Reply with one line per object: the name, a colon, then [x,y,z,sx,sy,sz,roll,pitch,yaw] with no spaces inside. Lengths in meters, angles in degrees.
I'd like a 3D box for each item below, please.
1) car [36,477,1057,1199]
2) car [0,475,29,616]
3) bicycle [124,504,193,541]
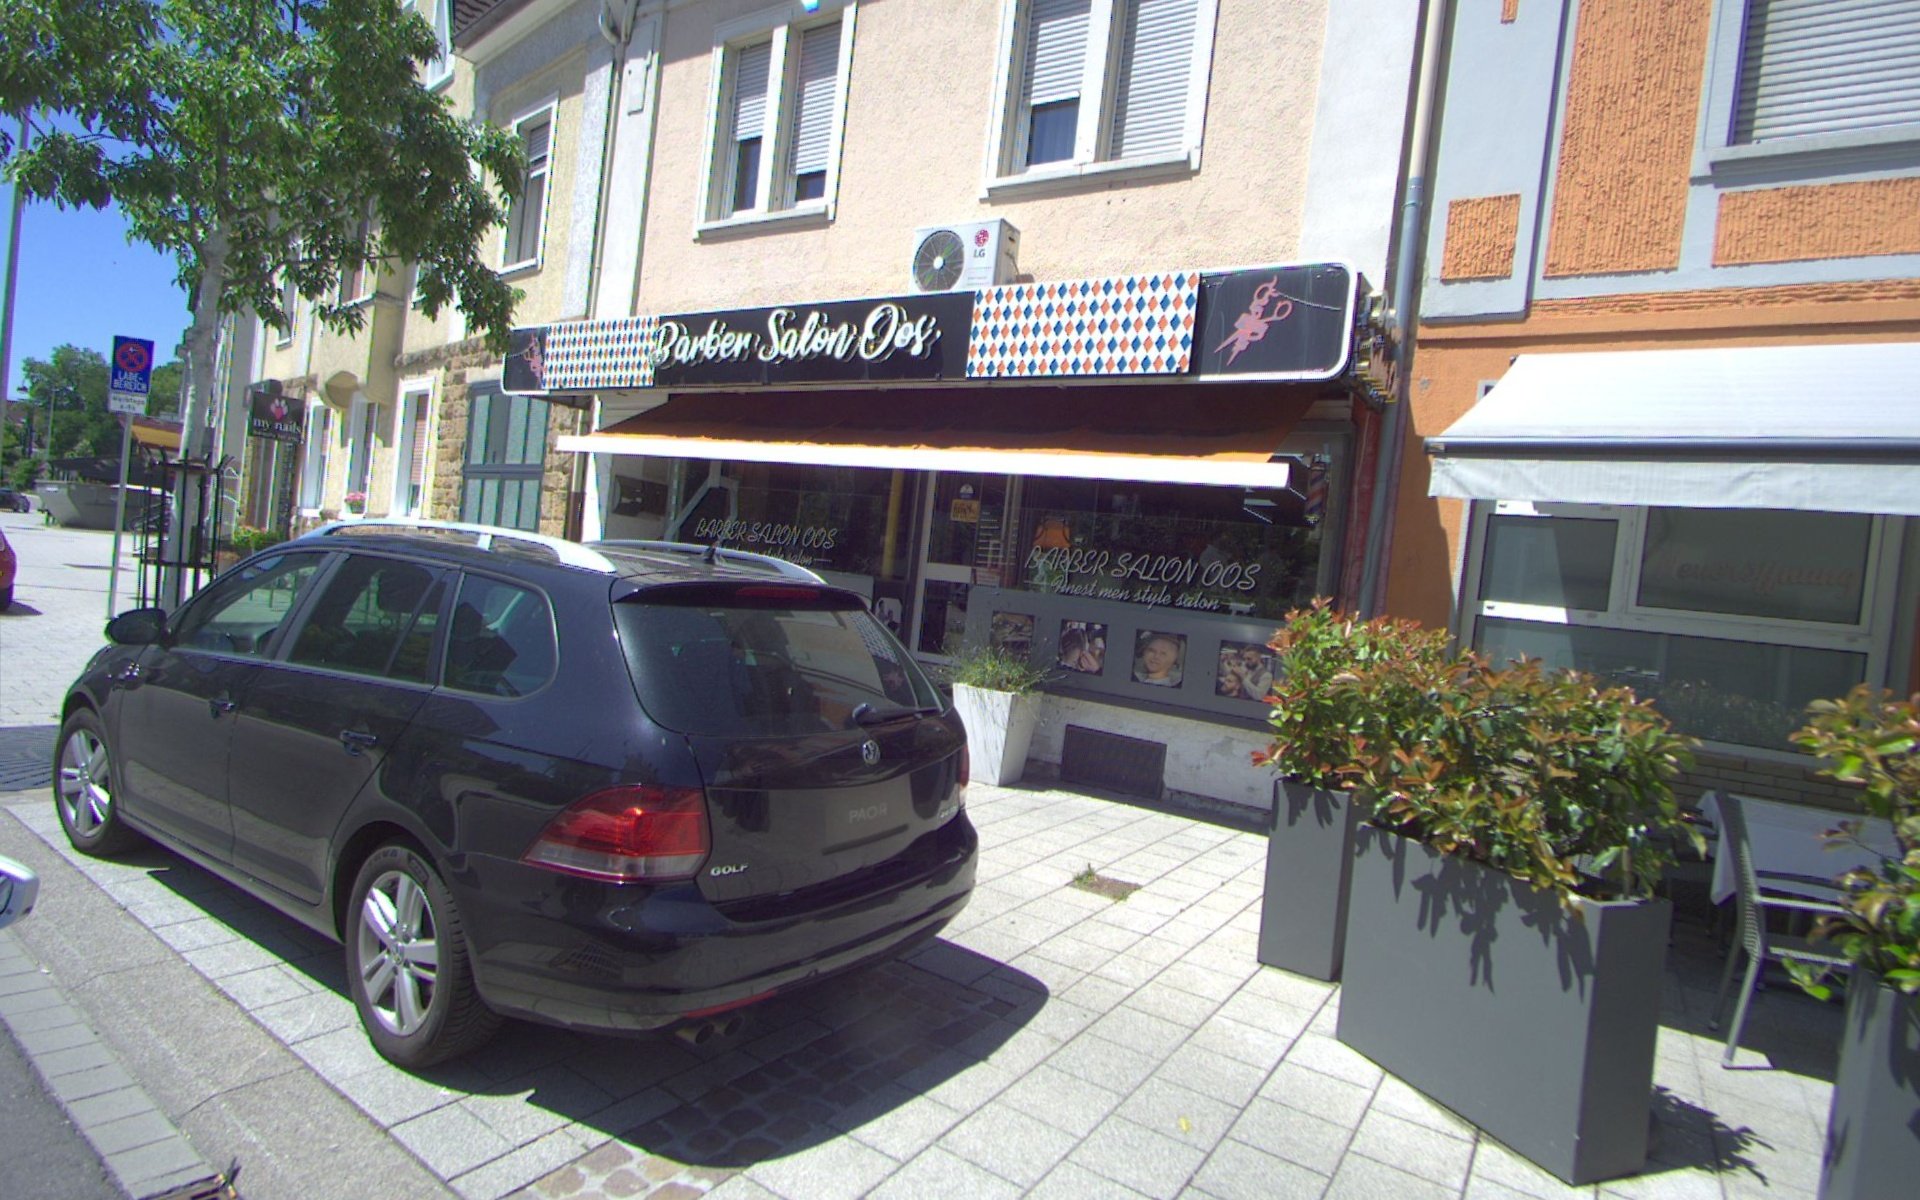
car: [-1.826,0.433,3.943,3.936,1.506,1.749,6,3,34]
car: [-12.349,-0.786,11.562,3.435,1.550,1.605,7,2,33]
bicycle: [-32.392,-3.127,40.698,2.035,1.192,0.883,7,0,-37]
